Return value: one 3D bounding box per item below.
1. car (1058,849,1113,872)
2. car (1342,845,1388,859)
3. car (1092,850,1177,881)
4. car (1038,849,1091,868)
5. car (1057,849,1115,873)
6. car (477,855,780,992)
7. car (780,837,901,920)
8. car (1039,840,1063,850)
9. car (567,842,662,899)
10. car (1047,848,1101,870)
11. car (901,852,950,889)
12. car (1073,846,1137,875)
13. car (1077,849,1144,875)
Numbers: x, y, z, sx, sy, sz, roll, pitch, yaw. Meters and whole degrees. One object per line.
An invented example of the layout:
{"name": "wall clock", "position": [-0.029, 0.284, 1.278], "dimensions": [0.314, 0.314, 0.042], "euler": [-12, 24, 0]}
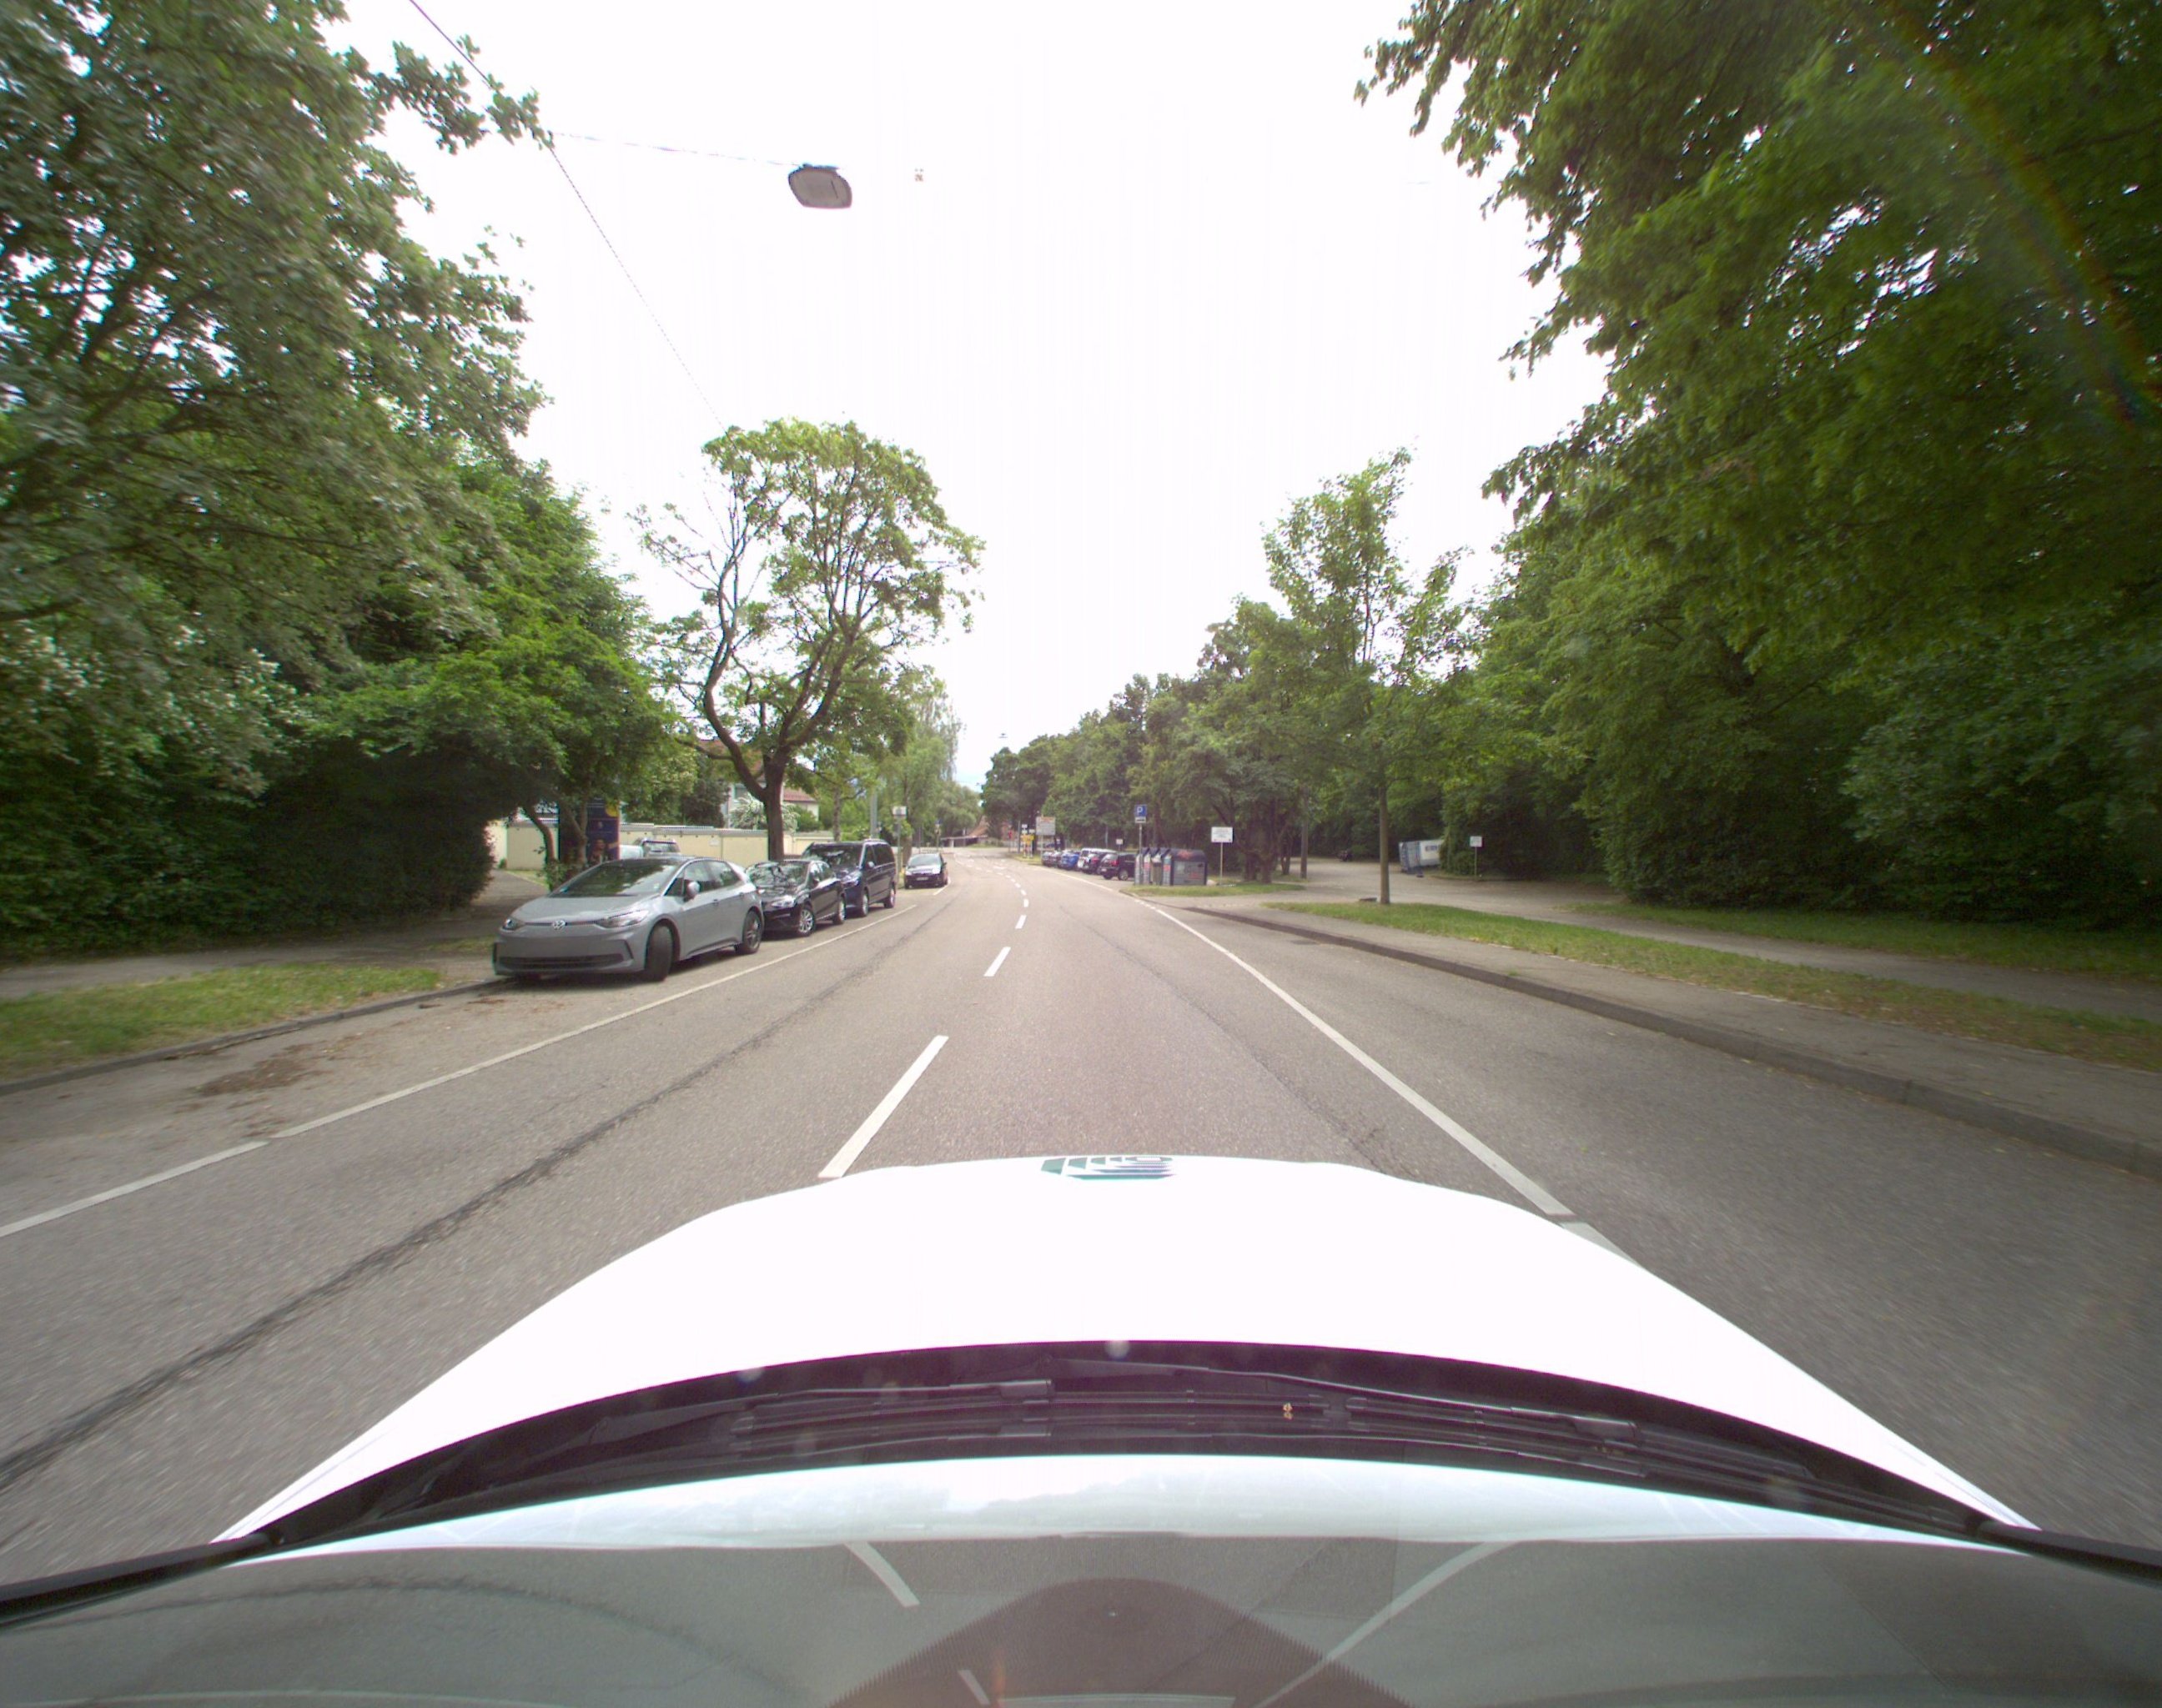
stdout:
{"name": "car", "position": [0.352, 0.482, 61.830], "dimensions": [3.840, 1.528, 1.731], "euler": [3, -1, -28]}
{"name": "car", "position": [28.760, -0.227, 82.550], "dimensions": [3.977, 1.409, 1.798], "euler": [0, 0, -3]}
{"name": "car", "position": [2.847, 0.612, 43.275], "dimensions": [4.009, 1.414, 2.040], "euler": [3, 1, -28]}
{"name": "car", "position": [-1.365, 0.366, 66.762], "dimensions": [3.894, 1.426, 1.814], "euler": [3, -1, -28]}
{"name": "car", "position": [0.360, 0.485, 58.858], "dimensions": [3.840, 1.528, 1.731], "euler": [3, -1, -28]}
{"name": "car", "position": [-5.917, 0.789, 11.353], "dimensions": [1.860, 1.538, 4.226], "euler": [0, 0, 0]}
{"name": "car", "position": [-6.114, 0.563, 21.365], "dimensions": [1.853, 1.909, 5.078], "euler": [0, 0, -2]}
{"name": "car", "position": [-5.317, -1.601, 143.812], "dimensions": [3.868, 1.647, 1.981], "euler": [0, 1, -30]}
{"name": "car", "position": [-13.666, 0.446, 24.083], "dimensions": [1.780, 1.478, 3.962], "euler": [4, -1, -21]}
{"name": "car", "position": [-0.530, 0.395, 63.706], "dimensions": [3.840, 1.528, 1.731], "euler": [3, -1, -28]}
{"name": "car", "position": [-7.154, 0.721, 37.799], "dimensions": [1.803, 1.563, 4.257], "euler": [-3, 0, -7]}
{"name": "car", "position": [1.594, 0.412, 54.251], "dimensions": [3.840, 1.720, 1.861], "euler": [3, -1, -28]}
{"name": "car", "position": [1.859, 0.515, 51.576], "dimensions": [3.840, 1.468, 1.731], "euler": [3, 0, -28]}
